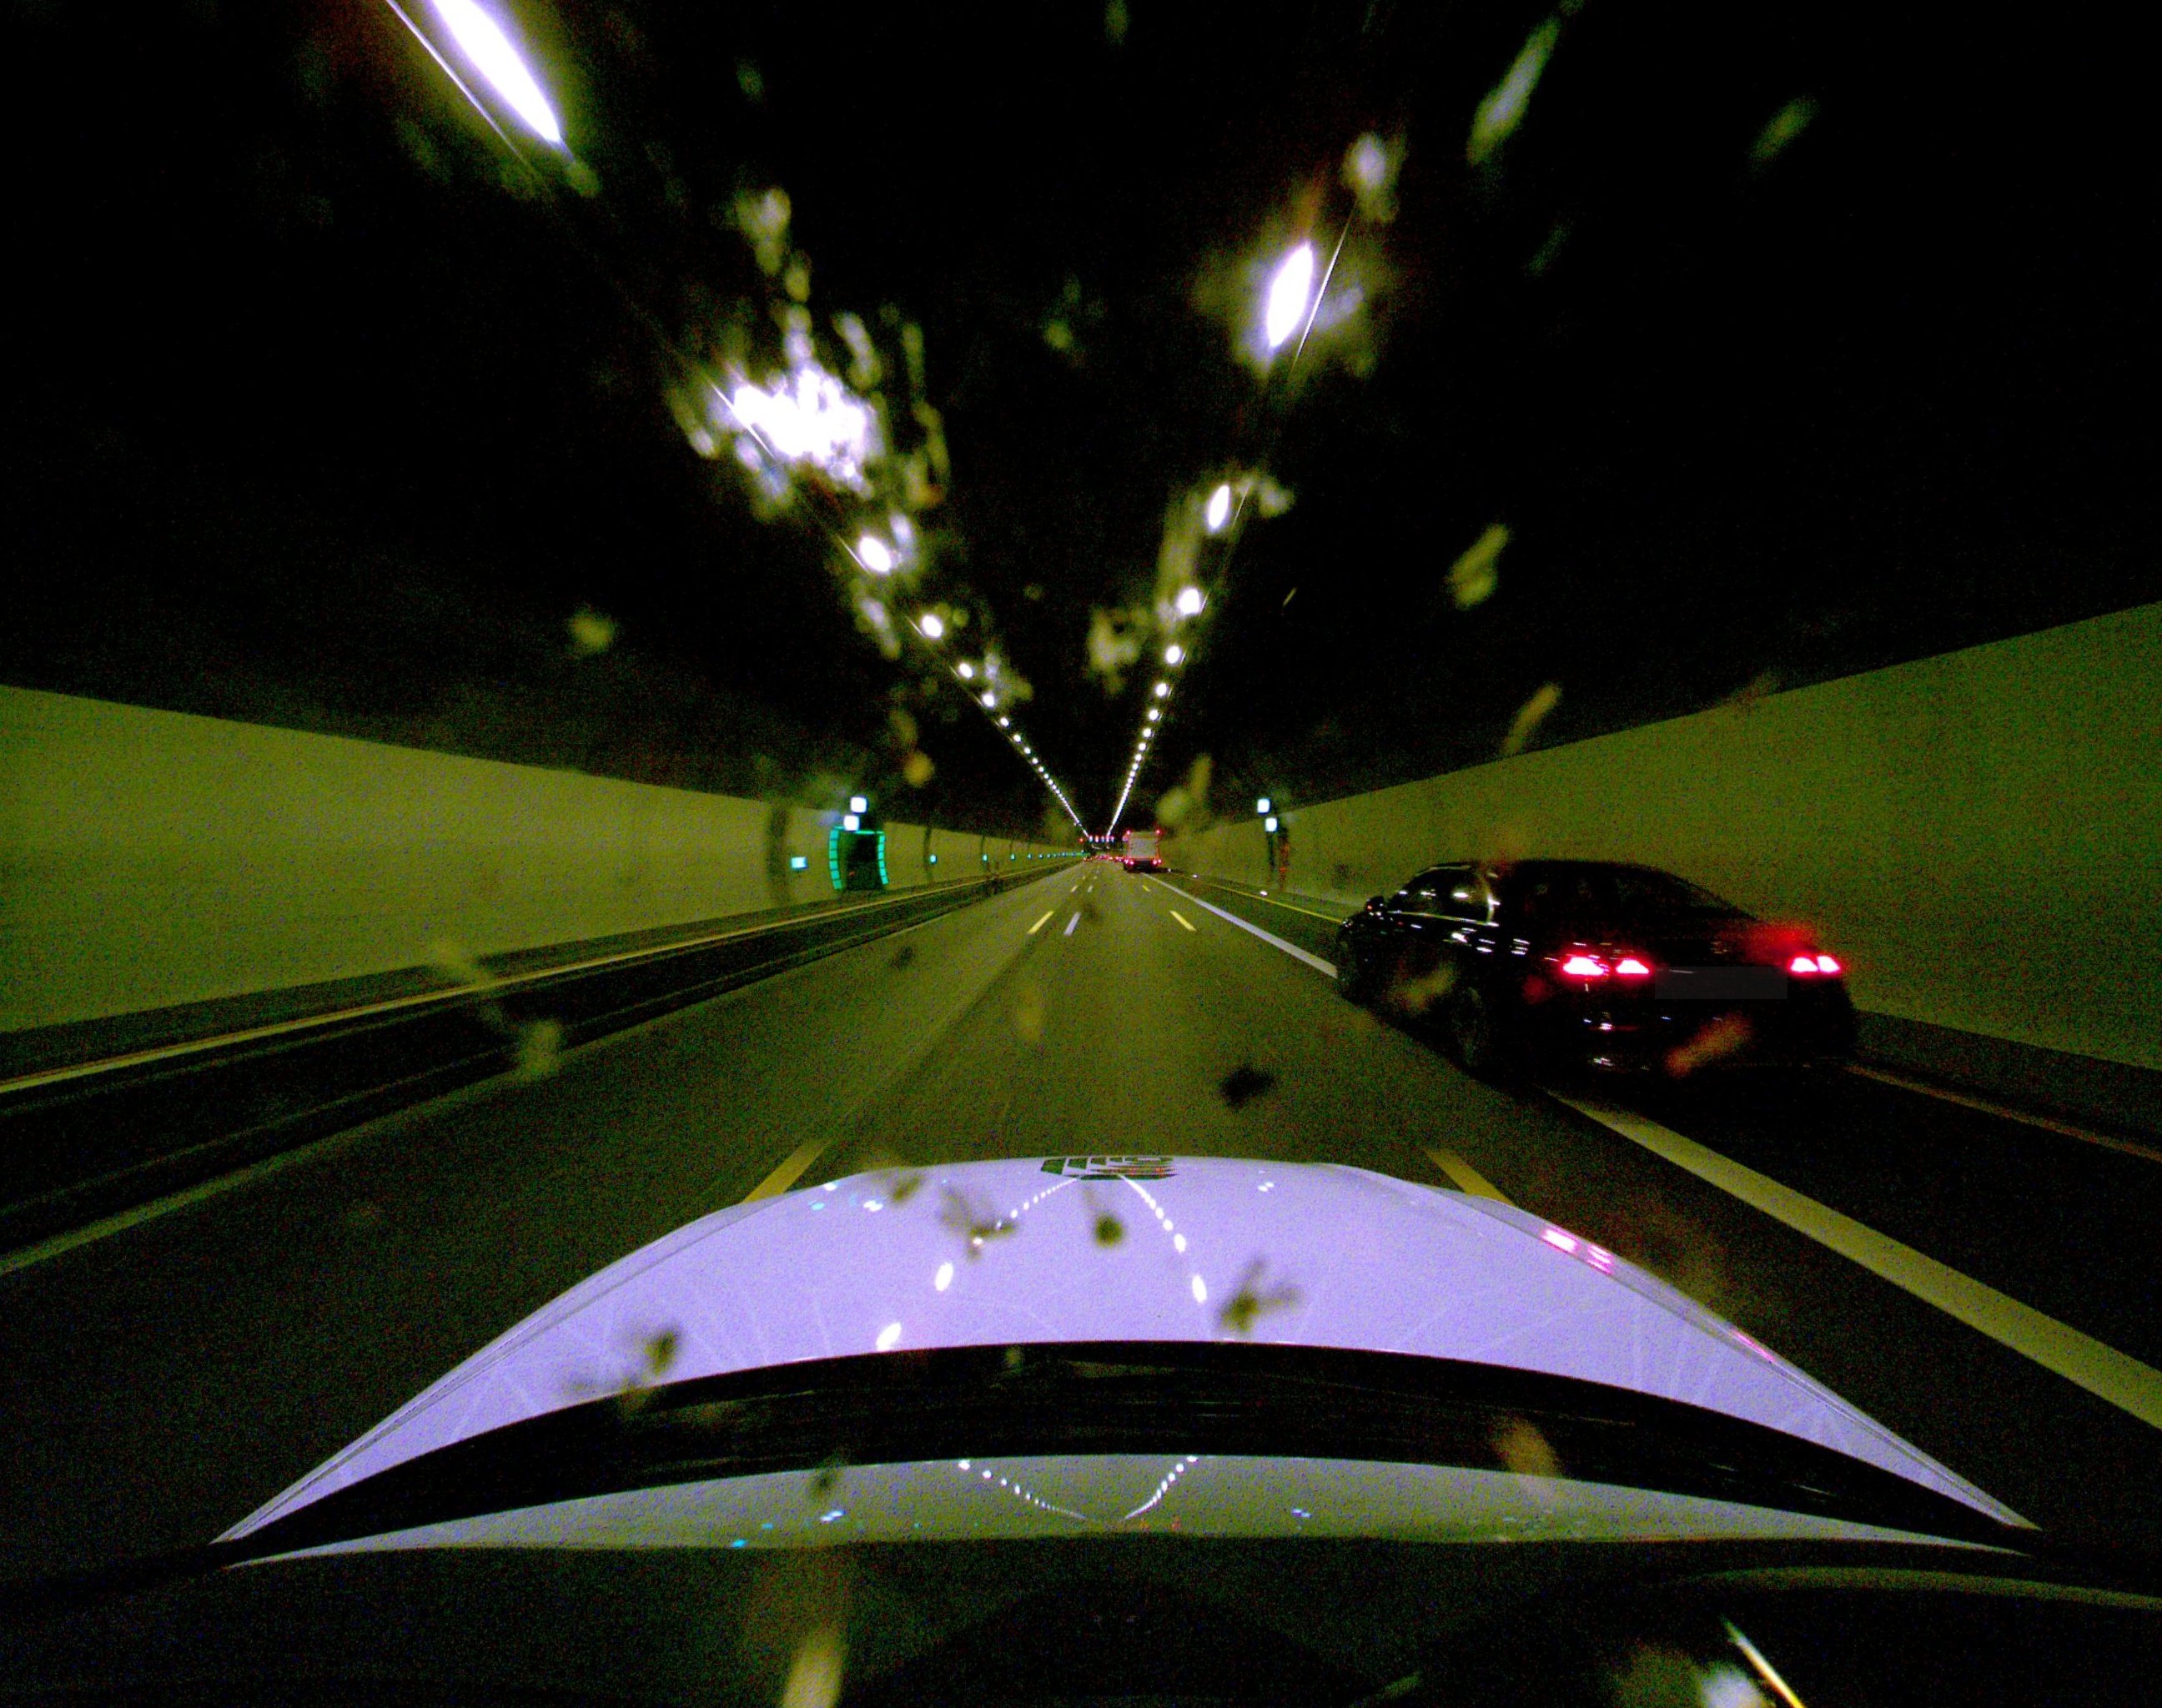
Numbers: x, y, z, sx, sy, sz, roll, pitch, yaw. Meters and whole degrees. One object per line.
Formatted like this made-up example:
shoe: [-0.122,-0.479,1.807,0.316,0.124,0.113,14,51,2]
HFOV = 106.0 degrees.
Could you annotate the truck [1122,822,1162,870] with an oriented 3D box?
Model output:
truck: [5.233,-0.597,71.618,3.080,3.918,10.371,0,-1,2]

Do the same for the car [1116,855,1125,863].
car: [7.701,0.950,160.131,1.732,1.461,3.963,0,0,3]

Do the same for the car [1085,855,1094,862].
car: [1.673,0.926,166.875,1.752,1.461,4.120,0,0,2]

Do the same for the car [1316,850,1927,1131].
car: [3.550,0.729,6.767,1.918,1.472,4.956,0,0,2]

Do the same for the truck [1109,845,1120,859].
truck: [9.793,-0.624,238.002,3.054,3.918,10.375,0,-1,3]
